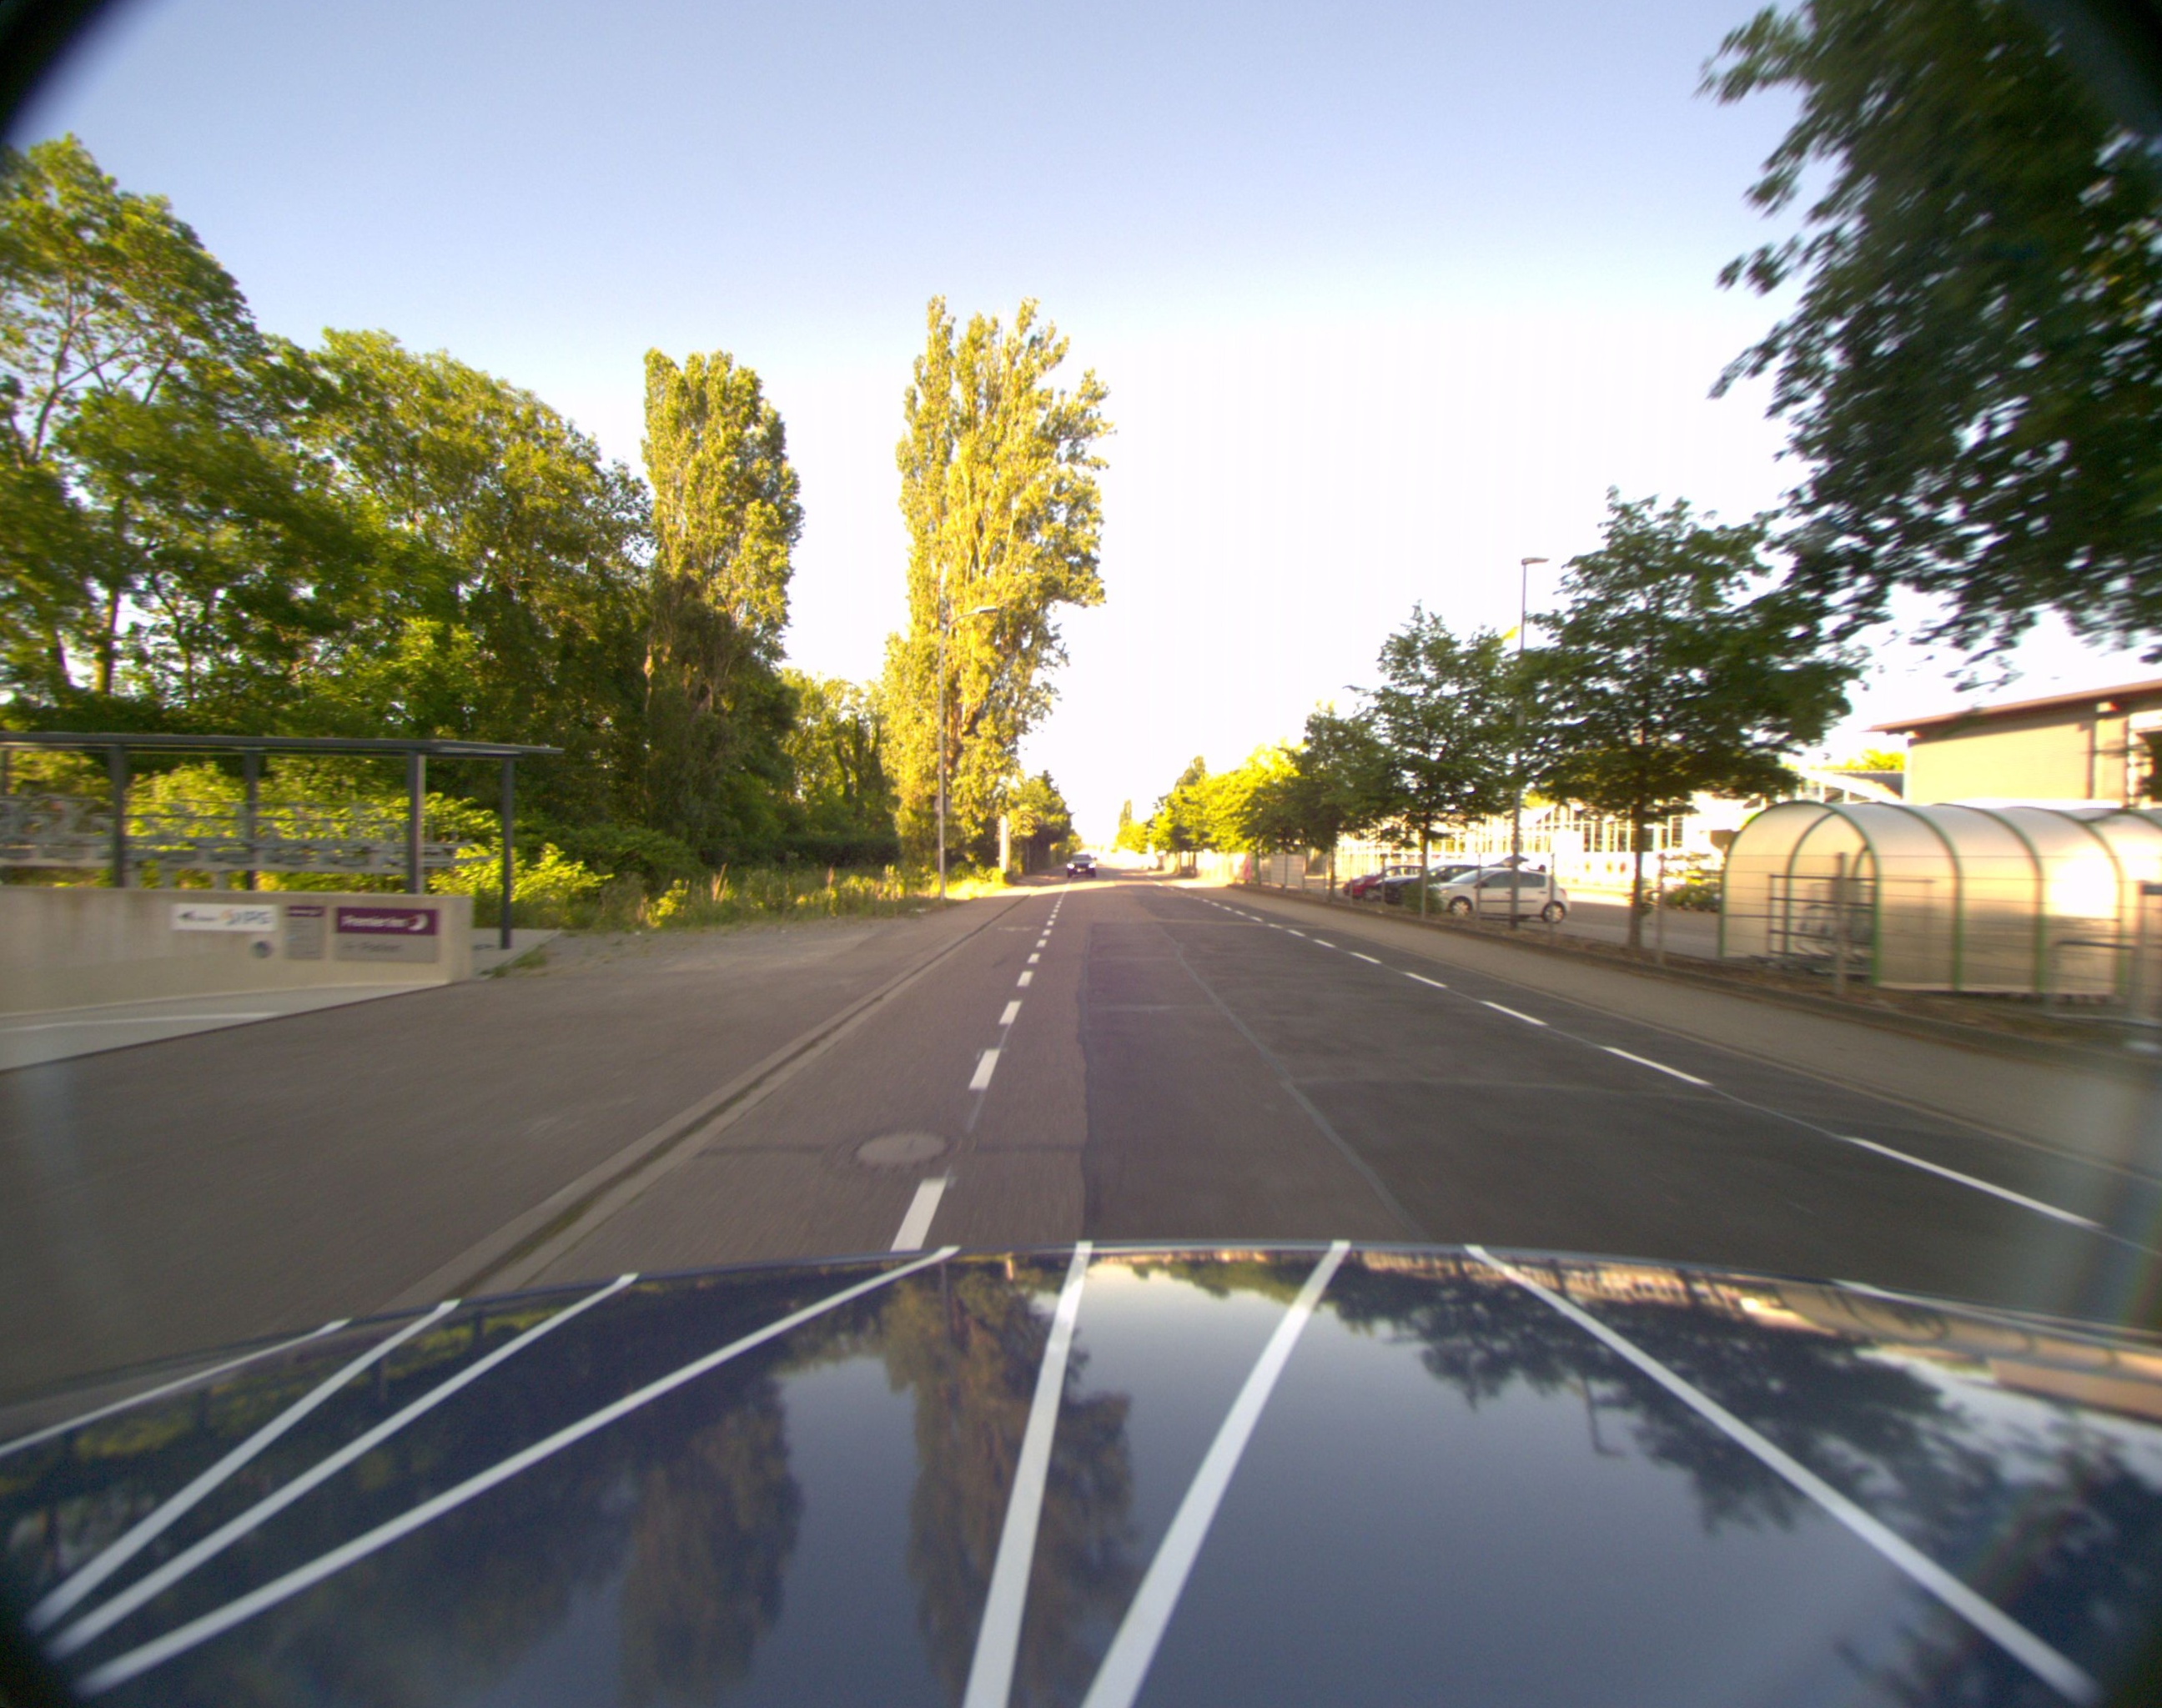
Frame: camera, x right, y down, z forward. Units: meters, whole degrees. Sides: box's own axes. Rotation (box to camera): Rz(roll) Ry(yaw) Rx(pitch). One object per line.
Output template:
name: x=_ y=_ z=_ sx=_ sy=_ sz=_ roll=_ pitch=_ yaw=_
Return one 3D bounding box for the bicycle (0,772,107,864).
bicycle: x=-15.721 y=-0.520 z=11.006 sx=0.632 sy=1.313 sz=1.989 roll=0 pitch=1 yaw=1

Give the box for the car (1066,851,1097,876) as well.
car: x=0.050 y=0.646 z=53.634 sx=1.998 sy=1.608 sz=4.000 roll=-3 pitch=0 yaw=1

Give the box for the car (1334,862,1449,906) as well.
car: x=12.202 y=1.150 z=30.014 sx=3.736 sy=1.442 sz=1.805 roll=4 pitch=0 yaw=-2

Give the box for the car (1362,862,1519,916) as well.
car: x=11.926 y=1.126 z=25.387 sx=4.197 sy=1.442 sz=2.052 roll=4 pitch=0 yaw=-2

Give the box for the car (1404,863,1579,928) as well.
car: x=11.462 y=1.135 z=21.405 sx=3.899 sy=1.502 sz=1.786 roll=4 pitch=0 yaw=0
